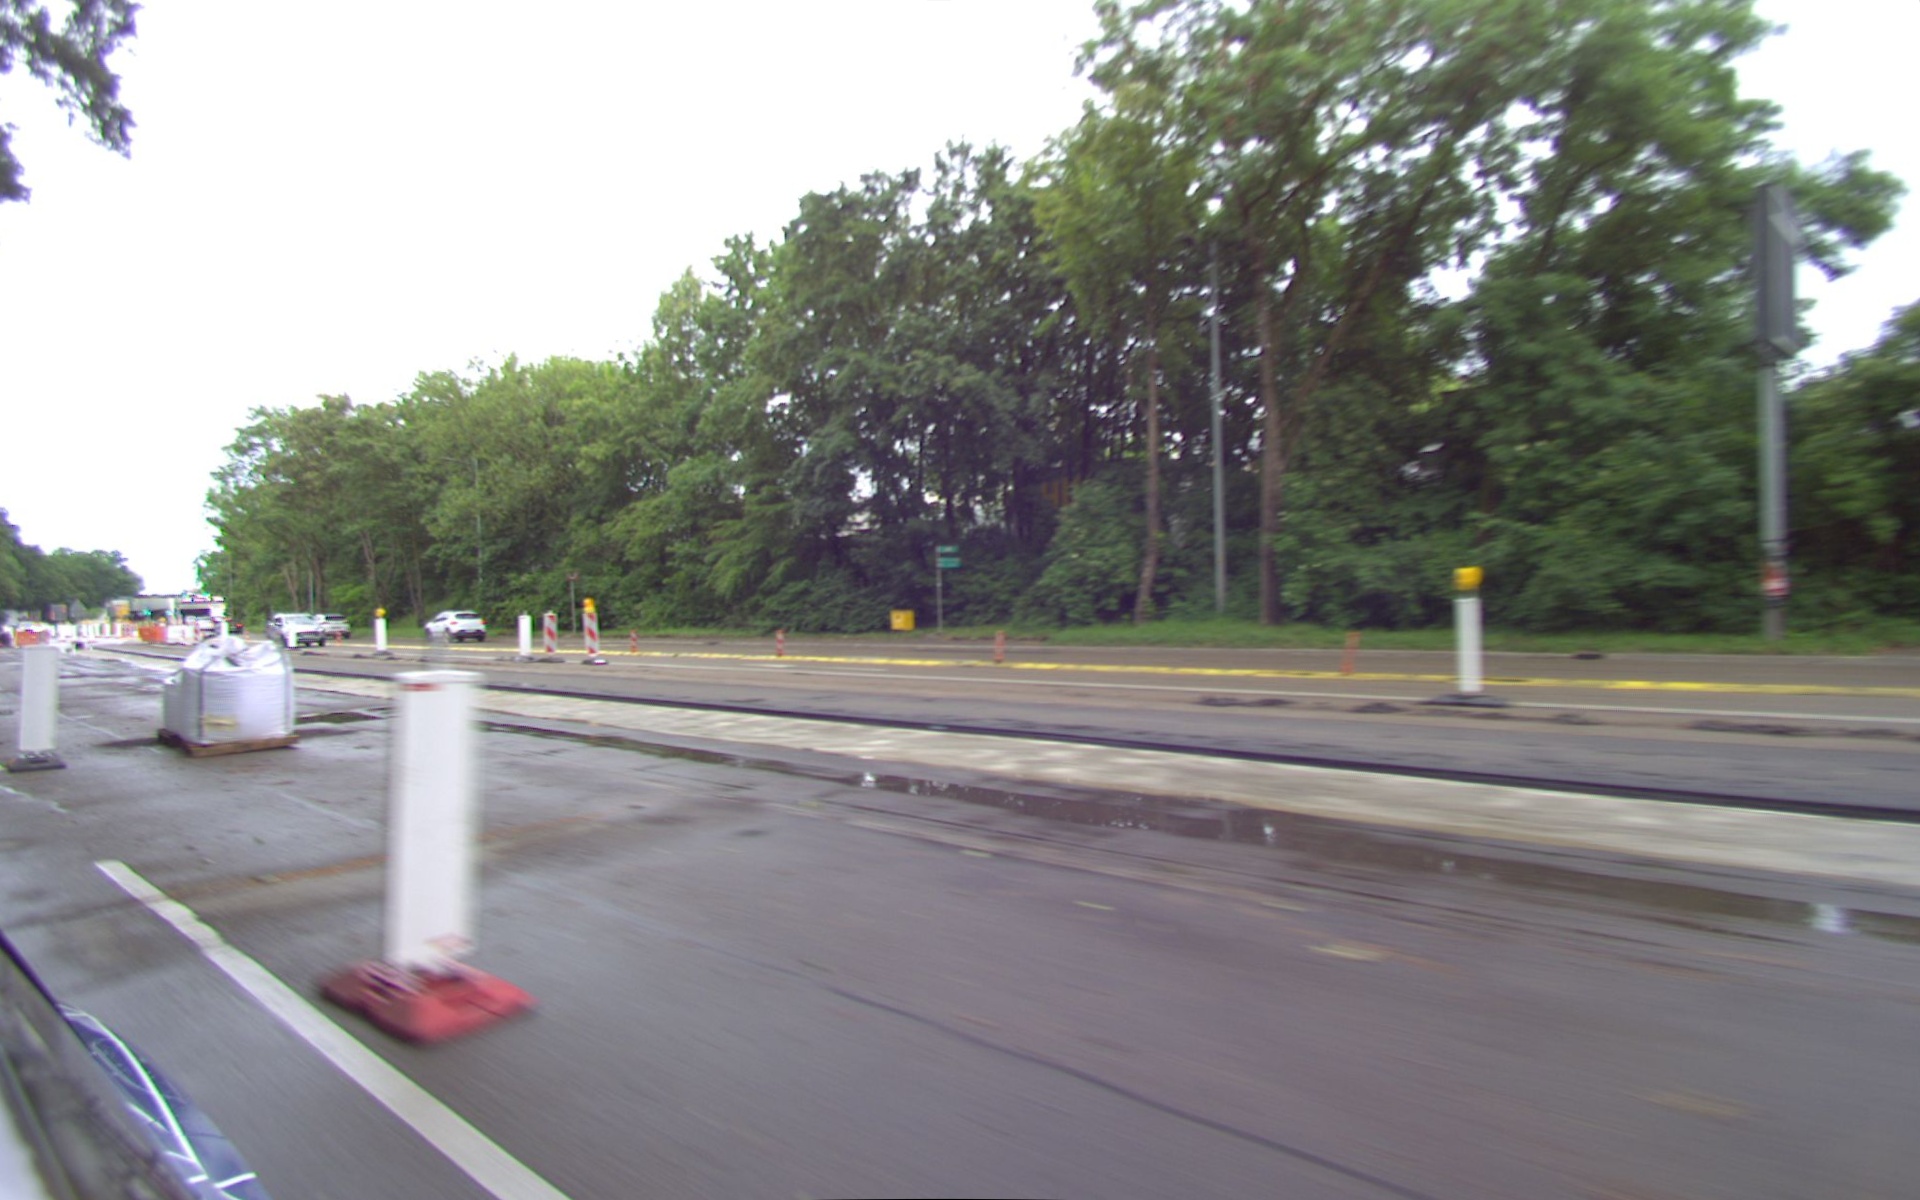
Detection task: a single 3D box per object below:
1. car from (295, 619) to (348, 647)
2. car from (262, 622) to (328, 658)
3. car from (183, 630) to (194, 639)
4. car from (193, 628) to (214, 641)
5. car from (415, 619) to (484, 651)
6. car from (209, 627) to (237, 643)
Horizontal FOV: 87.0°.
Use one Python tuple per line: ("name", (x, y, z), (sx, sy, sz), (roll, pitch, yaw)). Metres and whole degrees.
("car", (-42.175, 2.161, 66.799), (4.377, 1.764, 1.758), (-2, -1, 41))
("car", (-31.819, 1.894, 48.355), (3.861, 1.596, 1.770), (-2, 0, 43))
("car", (-150.661, 6.755, 197.566), (1.653, 1.626, 3.777), (1, -2, -37))
("car", (-88.285, 4.072, 118.071), (1.762, 1.437, 4.476), (-1, -1, -40))
("car", (-25.489, 1.751, 50.470), (4.156, 1.553, 1.648), (-2, -3, 42))
("car", (-70.557, 3.316, 96.888), (1.762, 1.463, 4.688), (-1, -1, -41))
